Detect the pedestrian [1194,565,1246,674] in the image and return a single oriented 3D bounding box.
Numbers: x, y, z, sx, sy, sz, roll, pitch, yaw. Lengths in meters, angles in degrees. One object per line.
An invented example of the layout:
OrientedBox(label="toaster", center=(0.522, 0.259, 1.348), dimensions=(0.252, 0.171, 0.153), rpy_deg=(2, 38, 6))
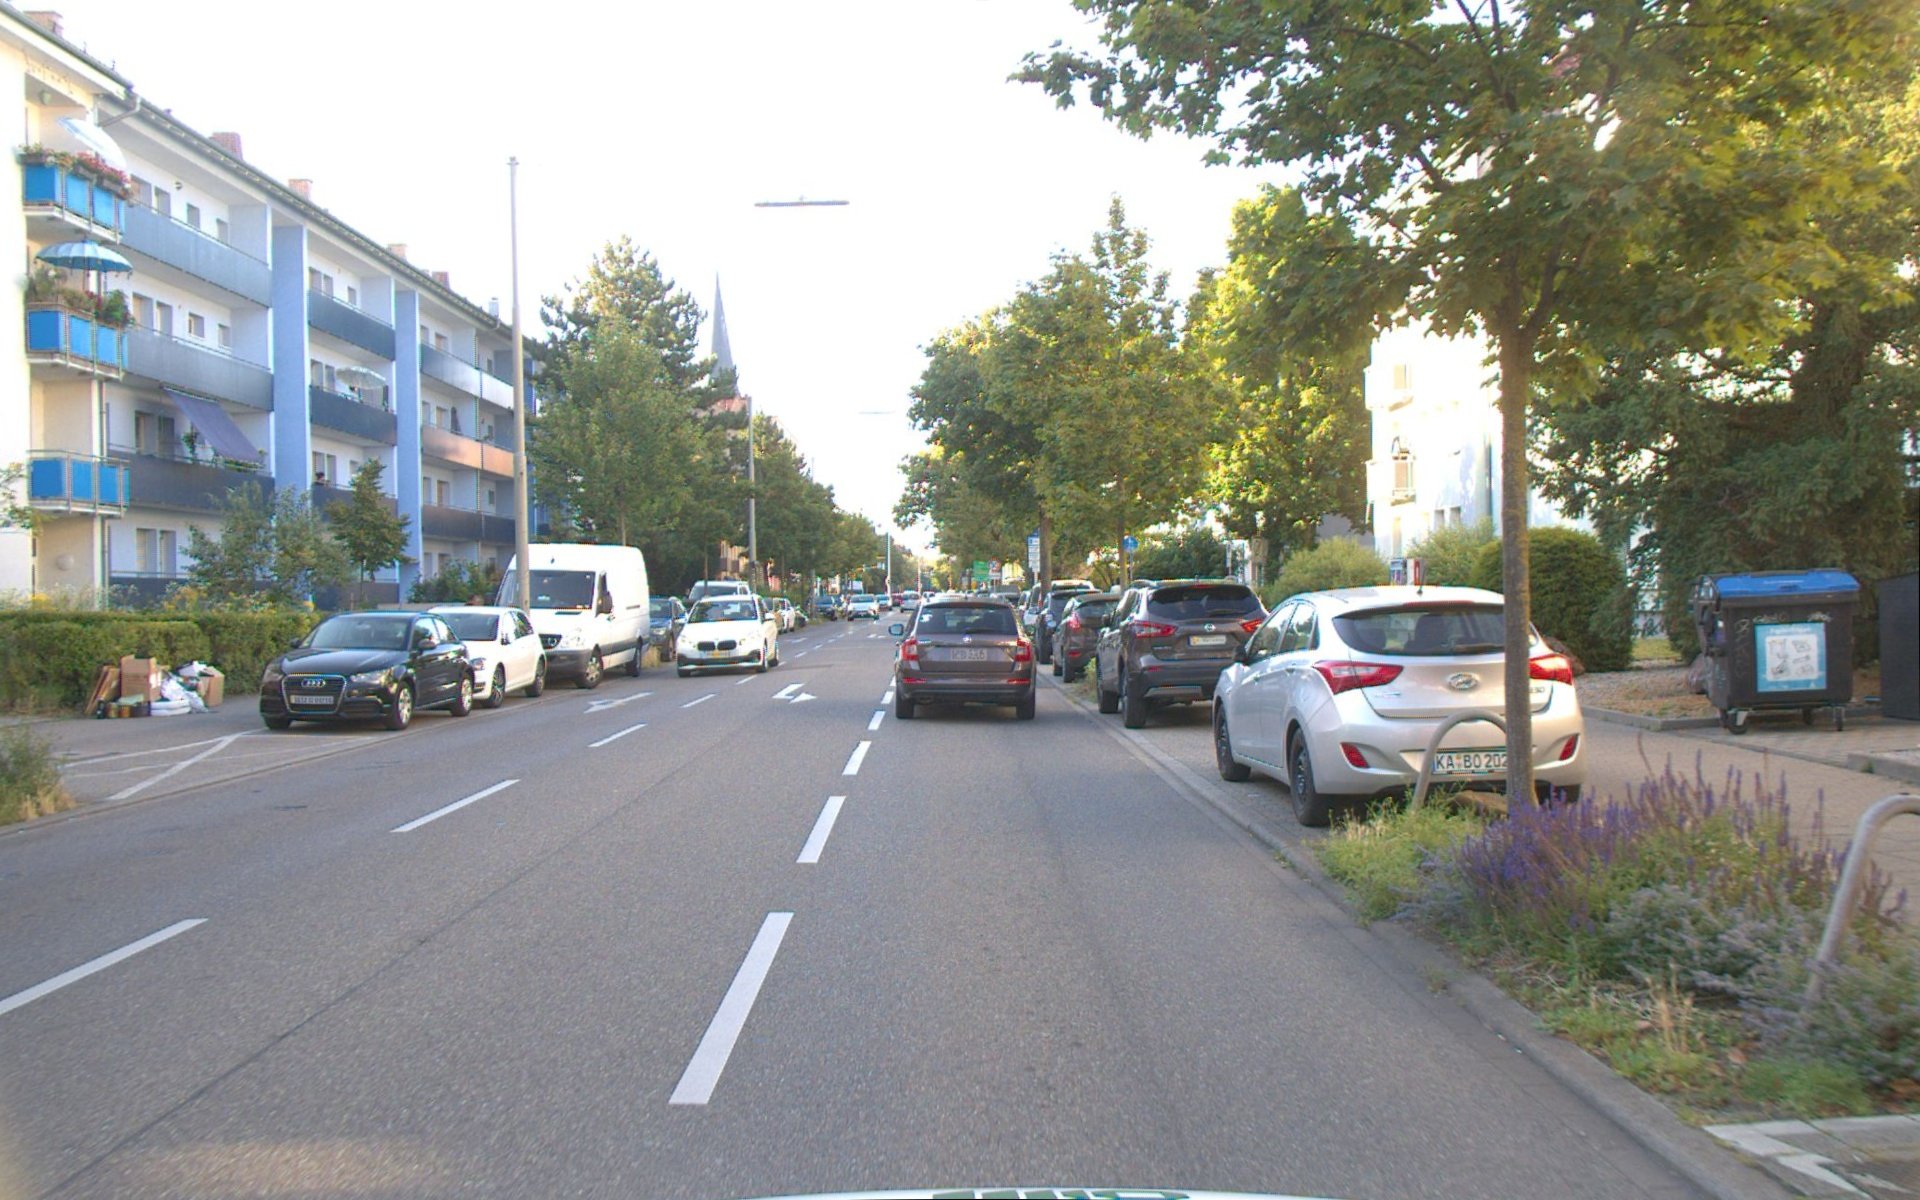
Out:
OrientedBox(label="pedestrian", center=(4.198, 0.313, 26.760), dimensions=(0.771, 1.730, 0.808), rpy_deg=(0, -1, 4))

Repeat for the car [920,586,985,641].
OrientedBox(label="car", center=(-0.277, 0.438, 50.918), dimensions=(1.854, 1.533, 3.788), rpy_deg=(3, -1, -1))

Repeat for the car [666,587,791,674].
OrientedBox(label="car", center=(-4.700, 0.587, 34.184), dimensions=(1.841, 1.569, 4.267), rpy_deg=(-3, 0, 1))

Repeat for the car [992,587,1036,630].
OrientedBox(label="car", center=(2.213, 0.350, 68.783), dimensions=(1.718, 1.716, 4.252), rpy_deg=(1, 0, 1))

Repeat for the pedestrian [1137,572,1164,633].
OrientedBox(label="pedestrian", center=(6.055, 0.068, 52.537), dimensions=(0.781, 1.893, 0.951), rpy_deg=(-1, 0, 10))

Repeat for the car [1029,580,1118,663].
OrientedBox(label="car", center=(2.461, 0.449, 36.740), dimensions=(1.718, 1.692, 4.252), rpy_deg=(-2, 0, 1))

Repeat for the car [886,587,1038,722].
OrientedBox(label="car", center=(0.054, 0.619, 20.997), dimensions=(1.718, 1.518, 4.000), rpy_deg=(1, 0, 1))

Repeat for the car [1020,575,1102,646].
OrientedBox(label="car", center=(2.759, 0.276, 45.930), dimensions=(1.764, 1.840, 4.421), rpy_deg=(1, 0, -3))

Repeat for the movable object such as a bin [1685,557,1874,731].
OrientedBox(label="movable object such as a bin", center=(7.671, 0.400, 15.554), dimensions=(1.240, 1.518, 1.140), rpy_deg=(-3, 0, 9))

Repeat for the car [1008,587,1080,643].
OrientedBox(label="car", center=(2.537, 0.437, 50.683), dimensions=(1.719, 1.584, 4.249), rpy_deg=(-2, 0, -3))

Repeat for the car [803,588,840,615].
OrientedBox(label="car", center=(-8.266, 0.084, 98.906), dimensions=(1.744, 1.506, 4.033), rpy_deg=(1, 0, 1))

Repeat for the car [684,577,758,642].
OrientedBox(label="car", center=(-7.957, 0.306, 55.470), dimensions=(1.831, 2.067, 5.299), rpy_deg=(0, 0, -1))

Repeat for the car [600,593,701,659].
OrientedBox(label="car", center=(-7.750, 0.618, 41.837), dimensions=(1.637, 1.570, 4.473), rpy_deg=(-1, 0, 1))

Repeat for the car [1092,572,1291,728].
OrientedBox(label="car", center=(2.617, 0.524, 19.585), dimensions=(1.683, 1.629, 4.095), rpy_deg=(-1, 0, -1))

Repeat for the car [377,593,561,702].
OrientedBox(label="car", center=(-7.611, 0.685, 26.020), dimensions=(1.672, 1.518, 4.058), rpy_deg=(2, 0, -1))

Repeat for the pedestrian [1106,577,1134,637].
OrientedBox(label="pedestrian", center=(5.156, 0.221, 53.323), dimensions=(0.733, 1.893, 1.067), rpy_deg=(-1, 0, -2))

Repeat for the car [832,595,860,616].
OrientedBox(label="car", center=(-8.772, 0.420, 127.584), dimensions=(1.744, 1.506, 3.971), rpy_deg=(1, 0, 1))

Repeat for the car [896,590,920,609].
OrientedBox(label="car", center=(-4.175, -0.057, 131.473), dimensions=(1.746, 1.506, 3.968), rpy_deg=(1, 0, -4))

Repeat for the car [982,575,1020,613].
OrientedBox(label="car", center=(2.104, -0.323, 85.224), dimensions=(1.877, 1.893, 5.633), rpy_deg=(0, 0, 1))

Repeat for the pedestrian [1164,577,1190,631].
OrientedBox(label="pedestrian", center=(7.141, 0.118, 54.384), dimensions=(0.781, 1.752, 0.745), rpy_deg=(-1, 0, 8))

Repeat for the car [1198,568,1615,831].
OrientedBox(label="car", center=(2.949, 0.574, 11.929), dimensions=(1.683, 1.520, 4.392), rpy_deg=(-1, 0, -2))

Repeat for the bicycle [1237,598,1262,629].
OrientedBox(label="bicycle", center=(9.183, 0.414, 52.496), dimensions=(0.465, 0.961, 1.680), rpy_deg=(-1, 0, -1))

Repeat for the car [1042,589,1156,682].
OrientedBox(label="car", center=(2.416, 0.586, 29.526), dimensions=(1.580, 1.492, 3.958), rpy_deg=(-2, 0, -1))

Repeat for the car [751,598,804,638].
OrientedBox(label="car", center=(-7.250, 0.690, 66.074), dimensions=(1.585, 1.506, 3.872), rpy_deg=(1, 0, 1))

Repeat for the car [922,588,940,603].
OrientedBox(label="car", center=(-3.222, -0.543, 182.899), dimensions=(1.613, 1.627, 3.645), rpy_deg=(-1, 0, -6))

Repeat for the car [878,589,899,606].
OrientedBox(label="car", center=(-7.859, -0.252, 181.539), dimensions=(1.955, 1.780, 3.995), rpy_deg=(-1, 0, -6))

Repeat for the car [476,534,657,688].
OrientedBox(label="car", center=(-7.493, 0.175, 32.325), dimensions=(1.953, 2.662, 7.103), rpy_deg=(1, 0, -1))

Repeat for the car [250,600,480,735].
OrientedBox(label="car", center=(-7.429, 0.784, 21.040), dimensions=(1.579, 1.498, 3.812), rpy_deg=(1, 0, -1))

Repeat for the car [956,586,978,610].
OrientedBox(label="car", center=(0.570, -0.158, 133.338), dimensions=(1.718, 1.837, 4.000), rpy_deg=(1, 0, 0))

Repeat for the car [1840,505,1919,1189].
OrientedBox(label="car", center=(3.127, 0.557, 1.749), dimensions=(1.836, 1.608, 4.821), rpy_deg=(-2, 0, 1))

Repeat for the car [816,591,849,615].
OrientedBox(label="car", center=(-8.576, 0.191, 111.419), dimensions=(1.744, 1.506, 3.971), rpy_deg=(1, 0, 1))

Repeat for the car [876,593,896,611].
OrientedBox(label="car", center=(-7.000, 0.188, 156.881), dimensions=(1.704, 1.505, 4.308), rpy_deg=(-4, 0, -1))

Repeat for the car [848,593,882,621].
OrientedBox(label="car", center=(-5.610, 0.410, 98.091), dimensions=(1.745, 1.520, 3.970), rpy_deg=(-3, 0, 0))

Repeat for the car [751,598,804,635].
OrientedBox(label="car", center=(-7.844, 0.673, 71.442), dimensions=(1.744, 1.520, 3.971), rpy_deg=(1, 0, 1))
